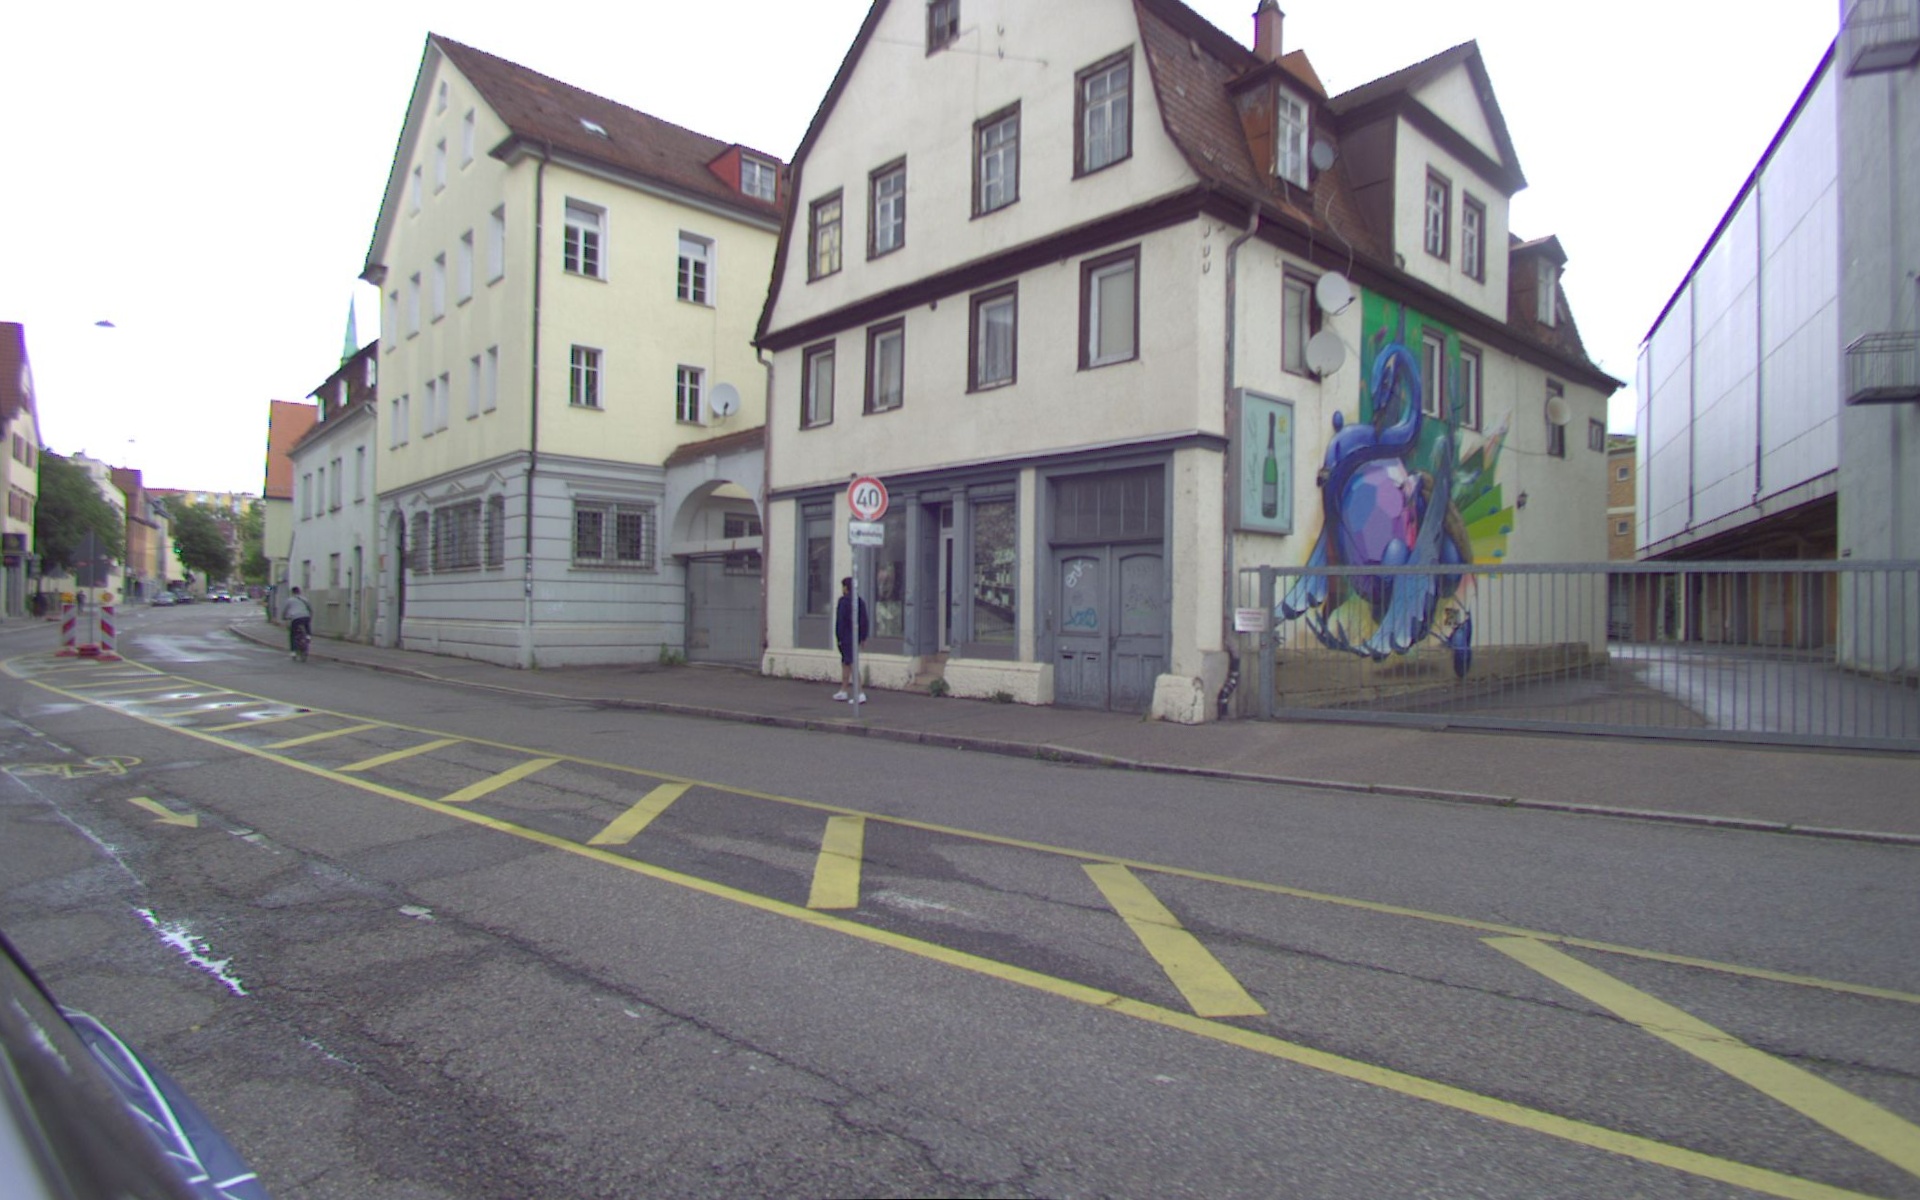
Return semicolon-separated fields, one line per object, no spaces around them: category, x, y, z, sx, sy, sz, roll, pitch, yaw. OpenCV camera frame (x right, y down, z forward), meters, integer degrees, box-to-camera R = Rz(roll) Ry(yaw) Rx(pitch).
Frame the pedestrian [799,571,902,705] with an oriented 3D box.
pedestrian;-1.642;0.558;15.121;1.092;1.900;1.042;-2;-2;44

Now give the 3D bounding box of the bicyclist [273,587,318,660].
bicyclist;-16.129;0.566;24.555;0.811;1.714;0.715;-1;-2;44

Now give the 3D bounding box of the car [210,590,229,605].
car;-103.546;-0.379;141.499;1.967;2.029;4.009;1;-2;-37

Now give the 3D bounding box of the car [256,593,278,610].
car;-89.095;0.198;130.096;2.027;2.029;4.009;1;-2;-37

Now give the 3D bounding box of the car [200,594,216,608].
car;-117.702;0.130;158.335;1.967;2.029;4.009;1;-2;-37

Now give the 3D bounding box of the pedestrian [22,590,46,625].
pedestrian;-52.585;0.430;57.448;0.897;1.914;0.867;-1;-2;41

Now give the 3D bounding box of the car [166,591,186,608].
car;-99.859;-0.048;128.940;1.967;2.029;4.009;1;-2;-37

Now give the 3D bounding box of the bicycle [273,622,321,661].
bicycle;-16.136;0.987;24.619;1.880;0.899;0.535;-1;-2;44

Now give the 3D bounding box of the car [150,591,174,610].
car;-87.637;0.048;111.203;1.967;2.029;4.009;1;-2;-37

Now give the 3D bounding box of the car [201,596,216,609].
car;-126.474;0.390;170.393;1.967;2.029;4.009;1;-2;-37
